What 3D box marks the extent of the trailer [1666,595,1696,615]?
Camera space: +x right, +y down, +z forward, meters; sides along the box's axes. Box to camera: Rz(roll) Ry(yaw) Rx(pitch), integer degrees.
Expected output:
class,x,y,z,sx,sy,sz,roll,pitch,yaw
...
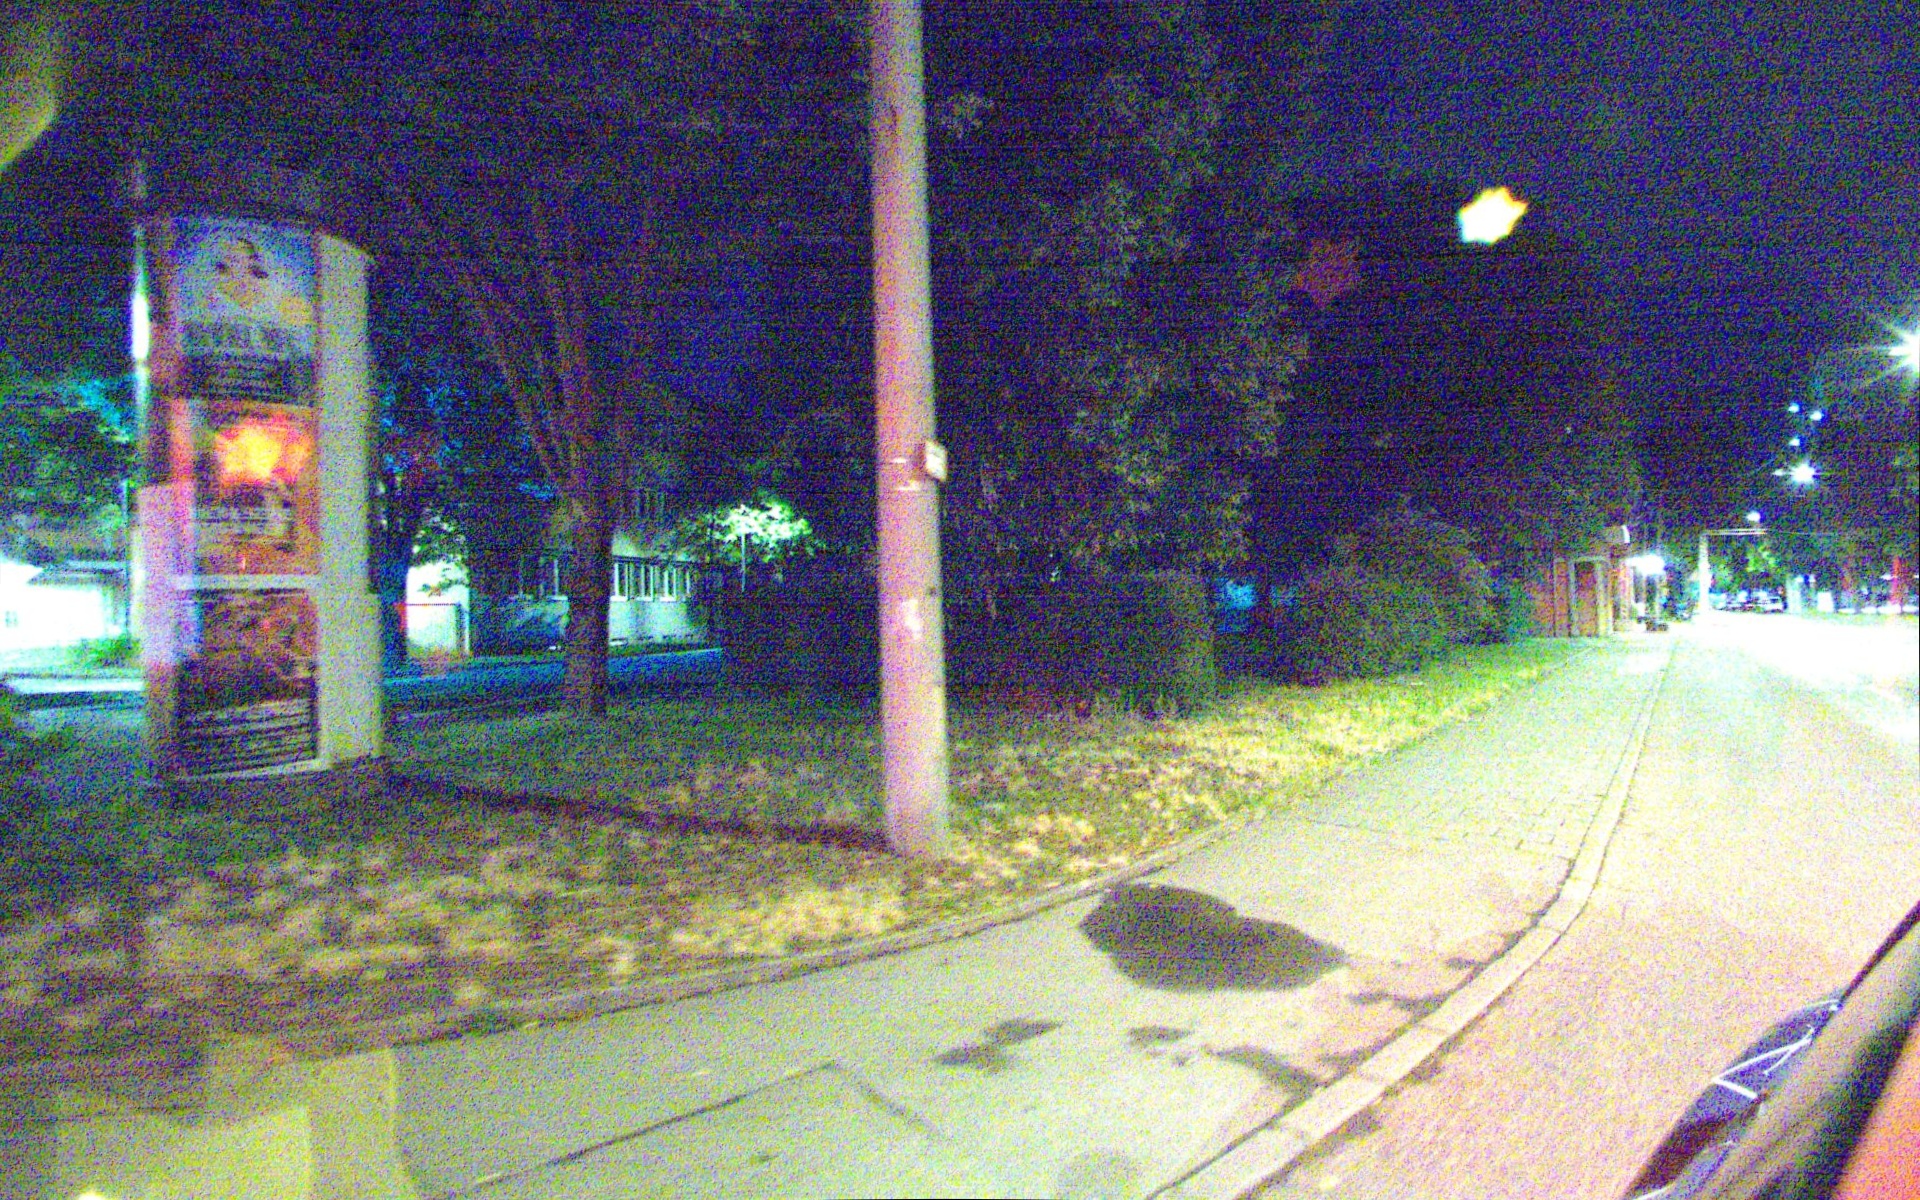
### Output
class,x,y,z,sx,sy,sz,roll,pitch,yaw
trailer,56.328,0.368,79.033,1.598,1.514,3.680,-3,-2,40

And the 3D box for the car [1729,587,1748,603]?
class,x,y,z,sx,sy,sz,roll,pitch,yaw
car,132.931,-0.795,172.814,1.992,2.540,4.894,-5,-3,34

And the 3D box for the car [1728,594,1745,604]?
class,x,y,z,sx,sy,sz,roll,pitch,yaw
car,125.583,-0.218,163.773,1.814,1.450,3.685,-5,-3,34

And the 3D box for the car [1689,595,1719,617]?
class,x,y,z,sx,sy,sz,roll,pitch,yaw
car,52.124,0.427,70.869,1.583,1.480,3.744,-3,-2,38

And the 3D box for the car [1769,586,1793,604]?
class,x,y,z,sx,sy,sz,roll,pitch,yaw
car,91.940,-0.556,113.361,1.872,1.832,3.681,-5,-3,37

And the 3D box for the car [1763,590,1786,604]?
class,x,y,z,sx,sy,sz,roll,pitch,yaw
car,95.227,-0.367,118.307,1.816,1.450,3.681,-5,-3,37

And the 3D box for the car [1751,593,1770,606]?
class,x,y,z,sx,sy,sz,roll,pitch,yaw
car,107.684,-0.046,136.167,1.817,1.668,3.681,0,0,37
